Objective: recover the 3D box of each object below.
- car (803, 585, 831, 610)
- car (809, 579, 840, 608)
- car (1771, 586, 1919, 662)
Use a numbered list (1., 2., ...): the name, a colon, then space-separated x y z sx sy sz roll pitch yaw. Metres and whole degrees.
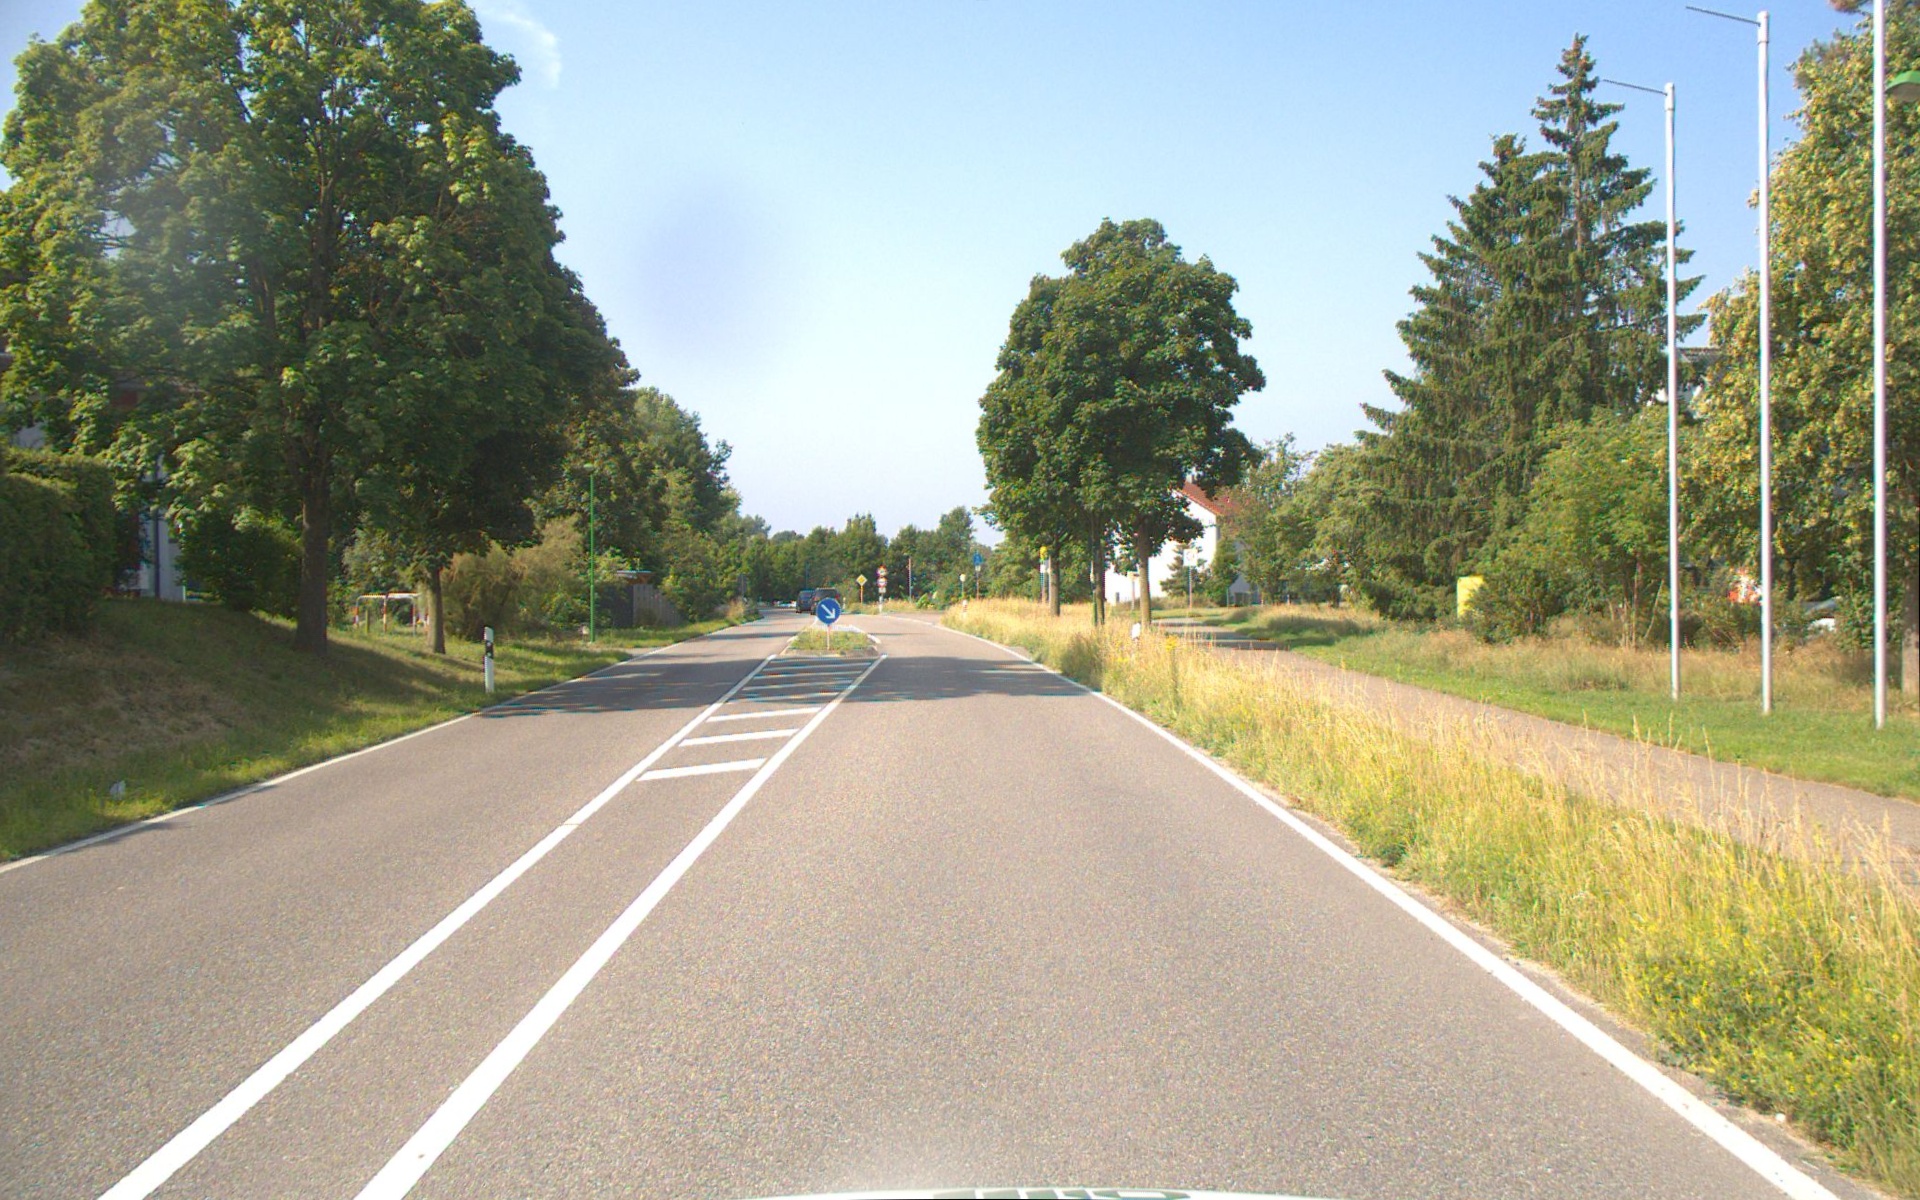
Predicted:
1. car: -10.841 -0.228 125.142 1.966 1.802 3.994 0 1 -7
2. car: -8.698 -0.405 105.667 1.888 1.802 3.995 0 1 -6
3. car: 19.223 0.466 34.384 3.913 1.459 1.811 -1 0 -9
